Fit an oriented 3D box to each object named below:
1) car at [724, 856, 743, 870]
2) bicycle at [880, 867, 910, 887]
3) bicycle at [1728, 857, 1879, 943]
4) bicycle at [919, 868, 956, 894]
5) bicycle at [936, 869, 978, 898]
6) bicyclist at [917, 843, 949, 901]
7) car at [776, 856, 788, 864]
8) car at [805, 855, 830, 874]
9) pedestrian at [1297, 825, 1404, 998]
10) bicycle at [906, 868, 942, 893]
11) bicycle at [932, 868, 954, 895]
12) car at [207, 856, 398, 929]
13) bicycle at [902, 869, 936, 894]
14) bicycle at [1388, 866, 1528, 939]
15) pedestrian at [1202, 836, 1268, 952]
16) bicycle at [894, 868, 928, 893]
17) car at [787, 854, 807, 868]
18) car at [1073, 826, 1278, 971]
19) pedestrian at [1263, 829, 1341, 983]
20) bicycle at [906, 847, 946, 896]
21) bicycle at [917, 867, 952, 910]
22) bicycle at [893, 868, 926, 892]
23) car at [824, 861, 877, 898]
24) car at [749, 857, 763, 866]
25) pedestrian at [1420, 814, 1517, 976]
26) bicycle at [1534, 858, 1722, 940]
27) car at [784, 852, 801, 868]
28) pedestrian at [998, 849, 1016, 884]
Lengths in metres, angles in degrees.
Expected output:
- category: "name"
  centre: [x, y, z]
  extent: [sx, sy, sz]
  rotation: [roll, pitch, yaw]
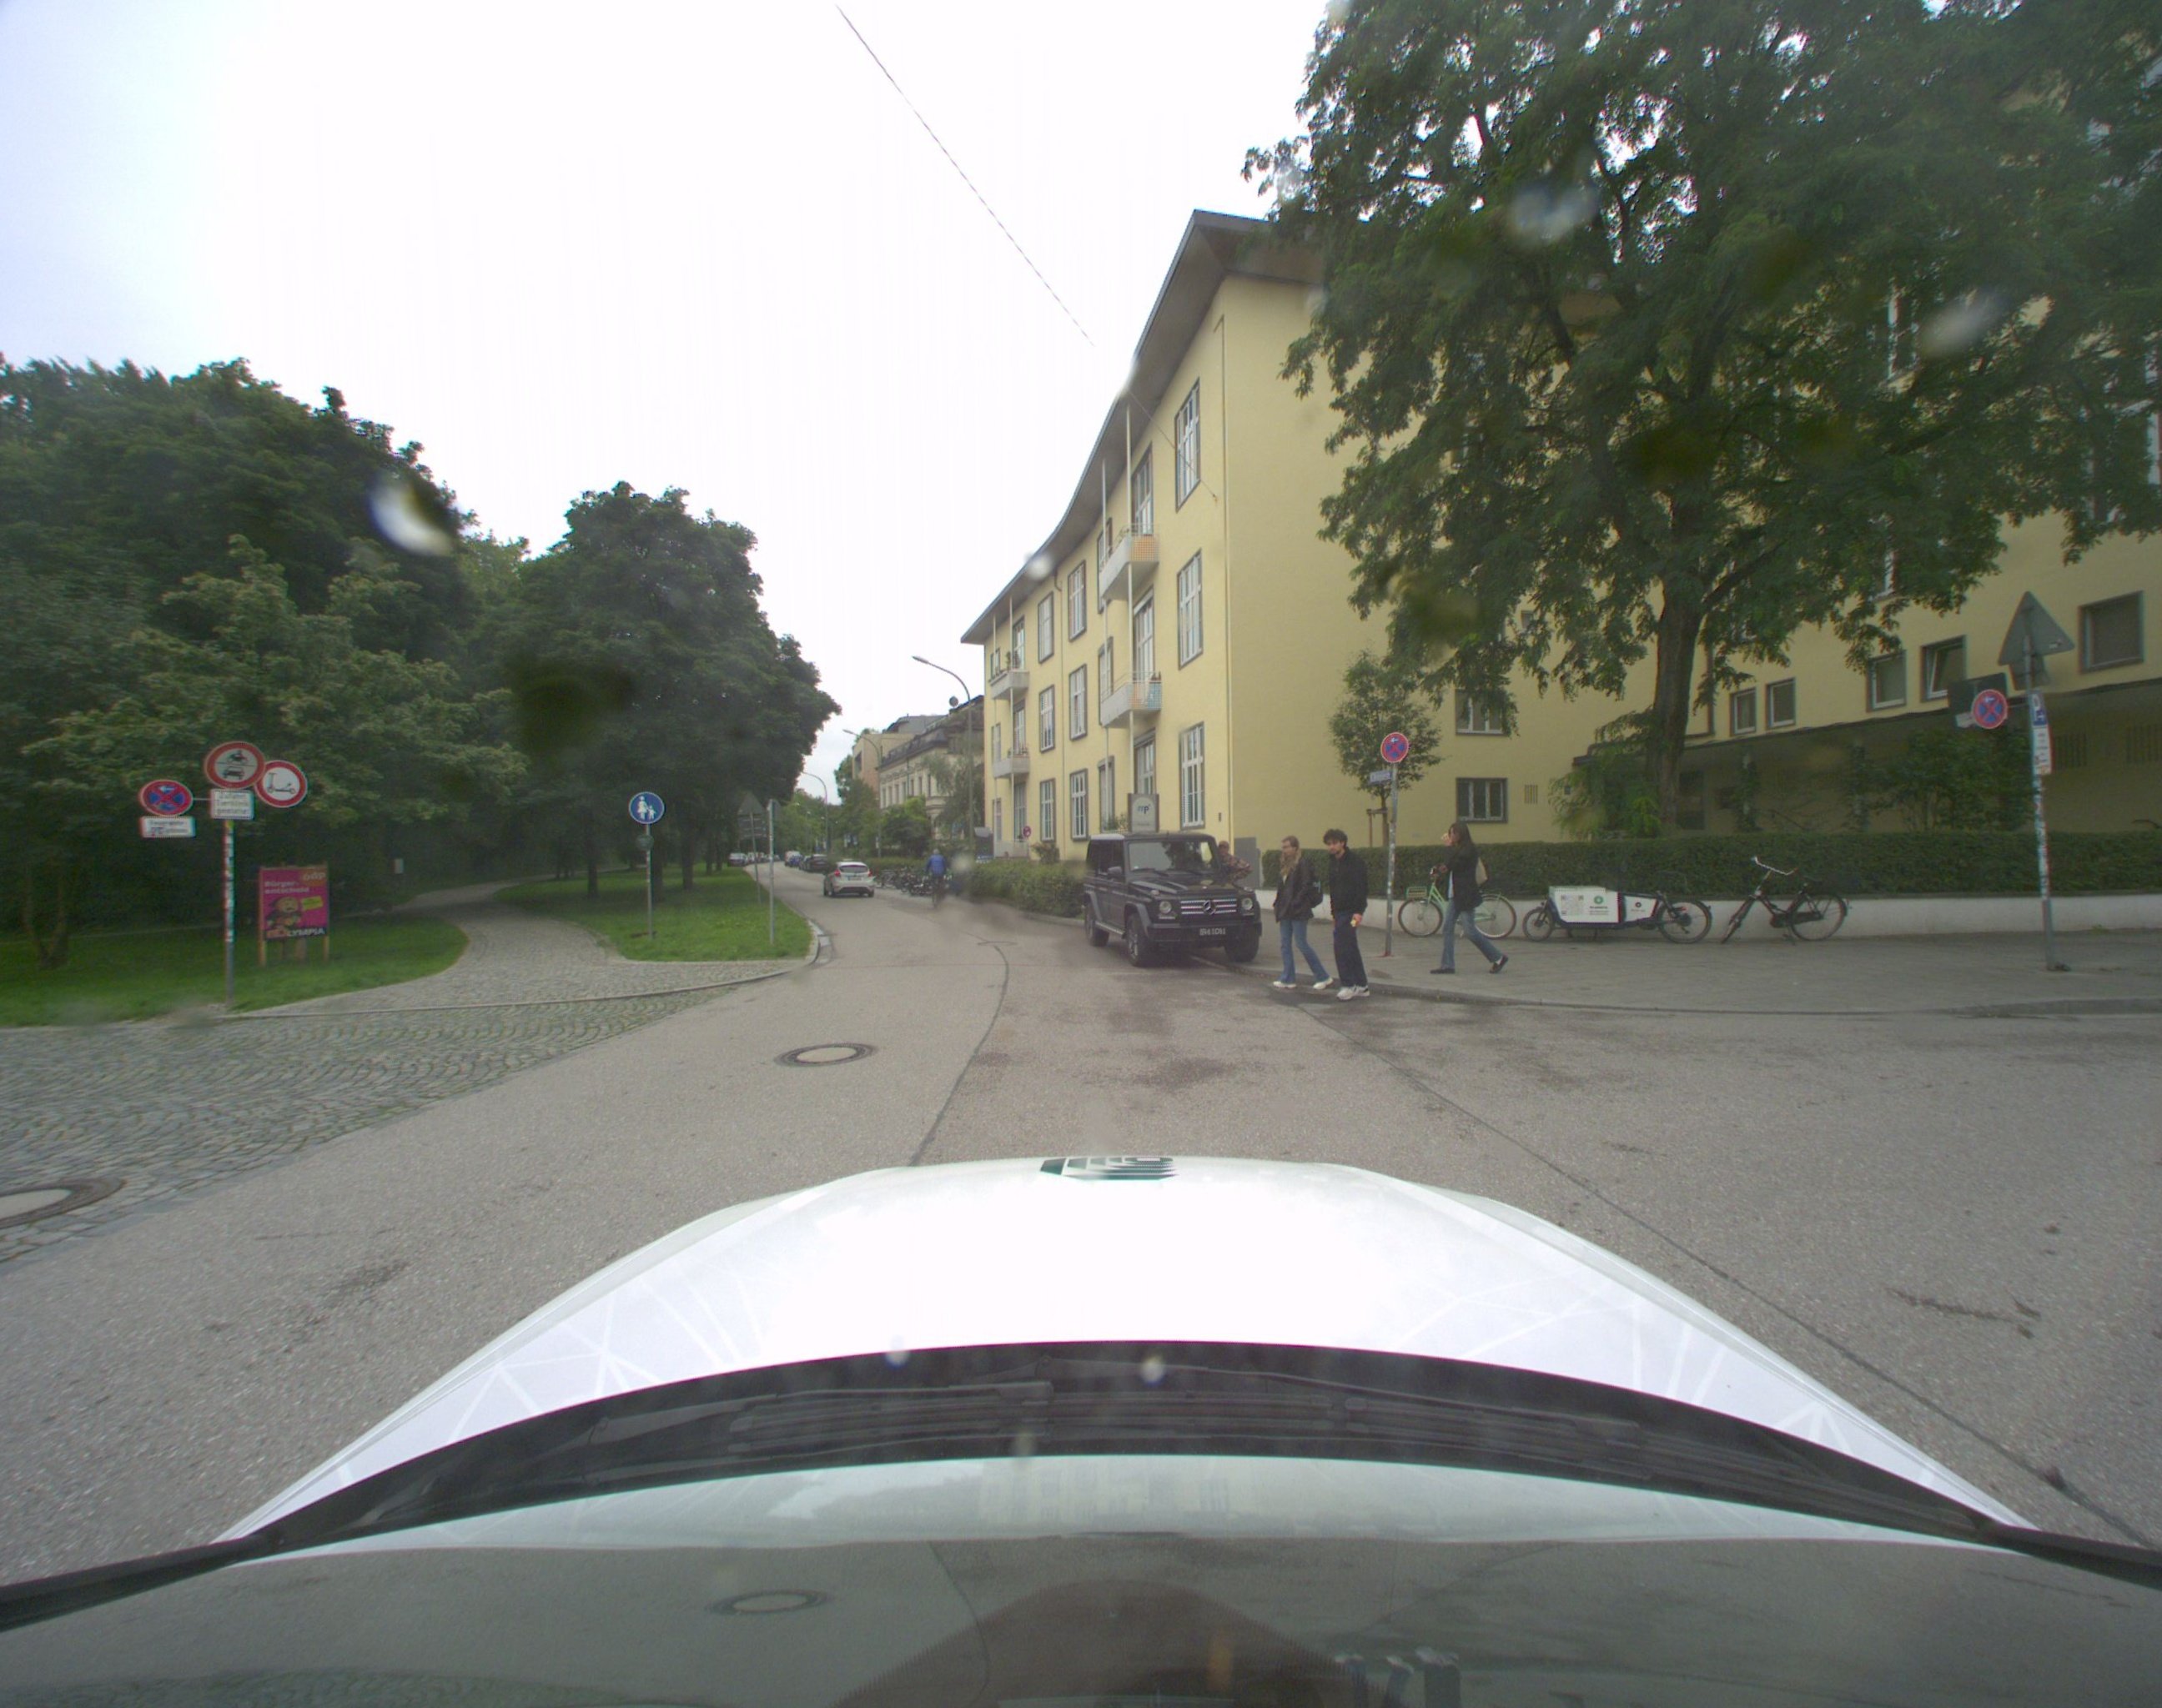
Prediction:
- category: "car"
  centre: [-41.528, 1.051, 97.284]
  extent: [2.002, 1.600, 4.432]
  rotation: [-1, 0, -23]
- category: "bicycle"
  centre: [-10.018, 1.236, 43.911]
  extent: [1.546, 1.014, 0.404]
  rotation: [-3, 0, -40]
- category: "bicycle"
  centre: [10.026, 0.631, 11.323]
  extent: [1.677, 1.130, 0.460]
  rotation: [-1, 0, -1]
- category: "bicycle"
  centre: [-6.100, 1.151, 34.645]
  extent: [1.547, 1.014, 0.362]
  rotation: [-3, 0, -44]
- category: "bicycle"
  centre: [-4.852, 1.146, 31.834]
  extent: [1.540, 1.014, 0.364]
  rotation: [-2, 0, -26]
- category: "bicyclist"
  centre: [-4.680, 0.565, 25.720]
  extent: [0.915, 1.764, 1.210]
  rotation: [-1, 0, -13]
- category: "car"
  centre: [-67.160, 1.374, 183.090]
  extent: [1.997, 1.600, 4.444]
  rotation: [-1, 0, -15]
- category: "car"
  centre: [-24.356, 0.934, 75.224]
  extent: [1.801, 1.680, 3.967]
  rotation: [-1, 0, -25]
- category: "pedestrian"
  centre: [2.912, 0.610, 8.888]
  extent: [0.984, 1.809, 0.661]
  rotation: [-2, 0, 9]
- category: "bicycle"
  centre: [-6.833, 1.147, 35.497]
  extent: [0.404, 1.014, 1.547]
  rotation: [-2, 0, 41]
- category: "bicycle"
  centre: [-5.685, 1.122, 33.574]
  extent: [0.364, 1.014, 1.542]
  rotation: [-2, 0, 9]
- category: "car"
  centre: [-24.448, 1.140, 25.725]
  extent: [1.765, 2.013, 4.026]
  rotation: [-2, 0, 32]
- category: "bicycle"
  centre: [-7.153, 1.201, 35.931]
  extent: [0.404, 1.014, 1.548]
  rotation: [-2, 0, 37]
- category: "bicycle"
  centre: [6.013, 0.775, 13.076]
  extent: [1.925, 1.085, 0.532]
  rotation: [-4, -2, 44]
- category: "pedestrian"
  centre: [2.430, 0.606, 12.945]
  extent: [0.845, 1.757, 0.954]
  rotation: [-2, 0, 2]
- category: "bicycle"
  centre: [-7.543, 1.186, 36.240]
  extent: [0.404, 1.014, 1.548]
  rotation: [-2, 0, 37]
- category: "car"
  centre: [-34.791, 0.878, 99.679]
  extent: [2.003, 1.600, 4.220]
  rotation: [-1, 0, -24]
- category: "car"
  centre: [1.287, 0.584, 13.246]
  extent: [1.875, 1.887, 4.598]
  rotation: [-1, 0, -13]
- category: "pedestrian"
  centre: [2.610, 0.596, 9.659]
  extent: [0.820, 1.746, 0.743]
  rotation: [-1, 0, 13]
- category: "bicycle"
  centre: [-6.625, 0.747, 34.874]
  extent: [0.451, 2.013, 1.688]
  rotation: [-2, 0, 41]
- category: "bicycle"
  centre: [-4.632, 1.050, 25.571]
  extent: [0.922, 1.252, 2.311]
  rotation: [-1, 0, -14]
- category: "bicycle"
  centre: [-7.998, 1.194, 38.014]
  extent: [0.404, 1.014, 1.548]
  rotation: [-2, 0, 37]
- category: "car"
  centre: [-9.697, 1.013, 34.113]
  extent: [1.754, 1.406, 3.700]
  rotation: [-1, 0, -22]
- category: "car"
  centre: [-56.105, 1.307, 140.511]
  extent: [2.000, 1.600, 4.438]
  rotation: [-1, 0, -19]
- category: "pedestrian"
  centre: [4.665, 0.481, 9.860]
  extent: [0.844, 1.857, 0.769]
  rotation: [-3, -1, 13]
- category: "bicycle"
  centre: [7.866, 0.646, 11.818]
  extent: [2.151, 1.115, 0.643]
  rotation: [-1, 0, 17]
- category: "car"
  centre: [-38.384, 0.785, 108.347]
  extent: [2.073, 1.966, 4.943]
  rotation: [-1, 0, -20]
- category: "pedestrian"
  centre: [-3.631, 0.603, 39.971]
  extent: [0.633, 1.684, 0.693]
  rotation: [-2, 0, -21]
